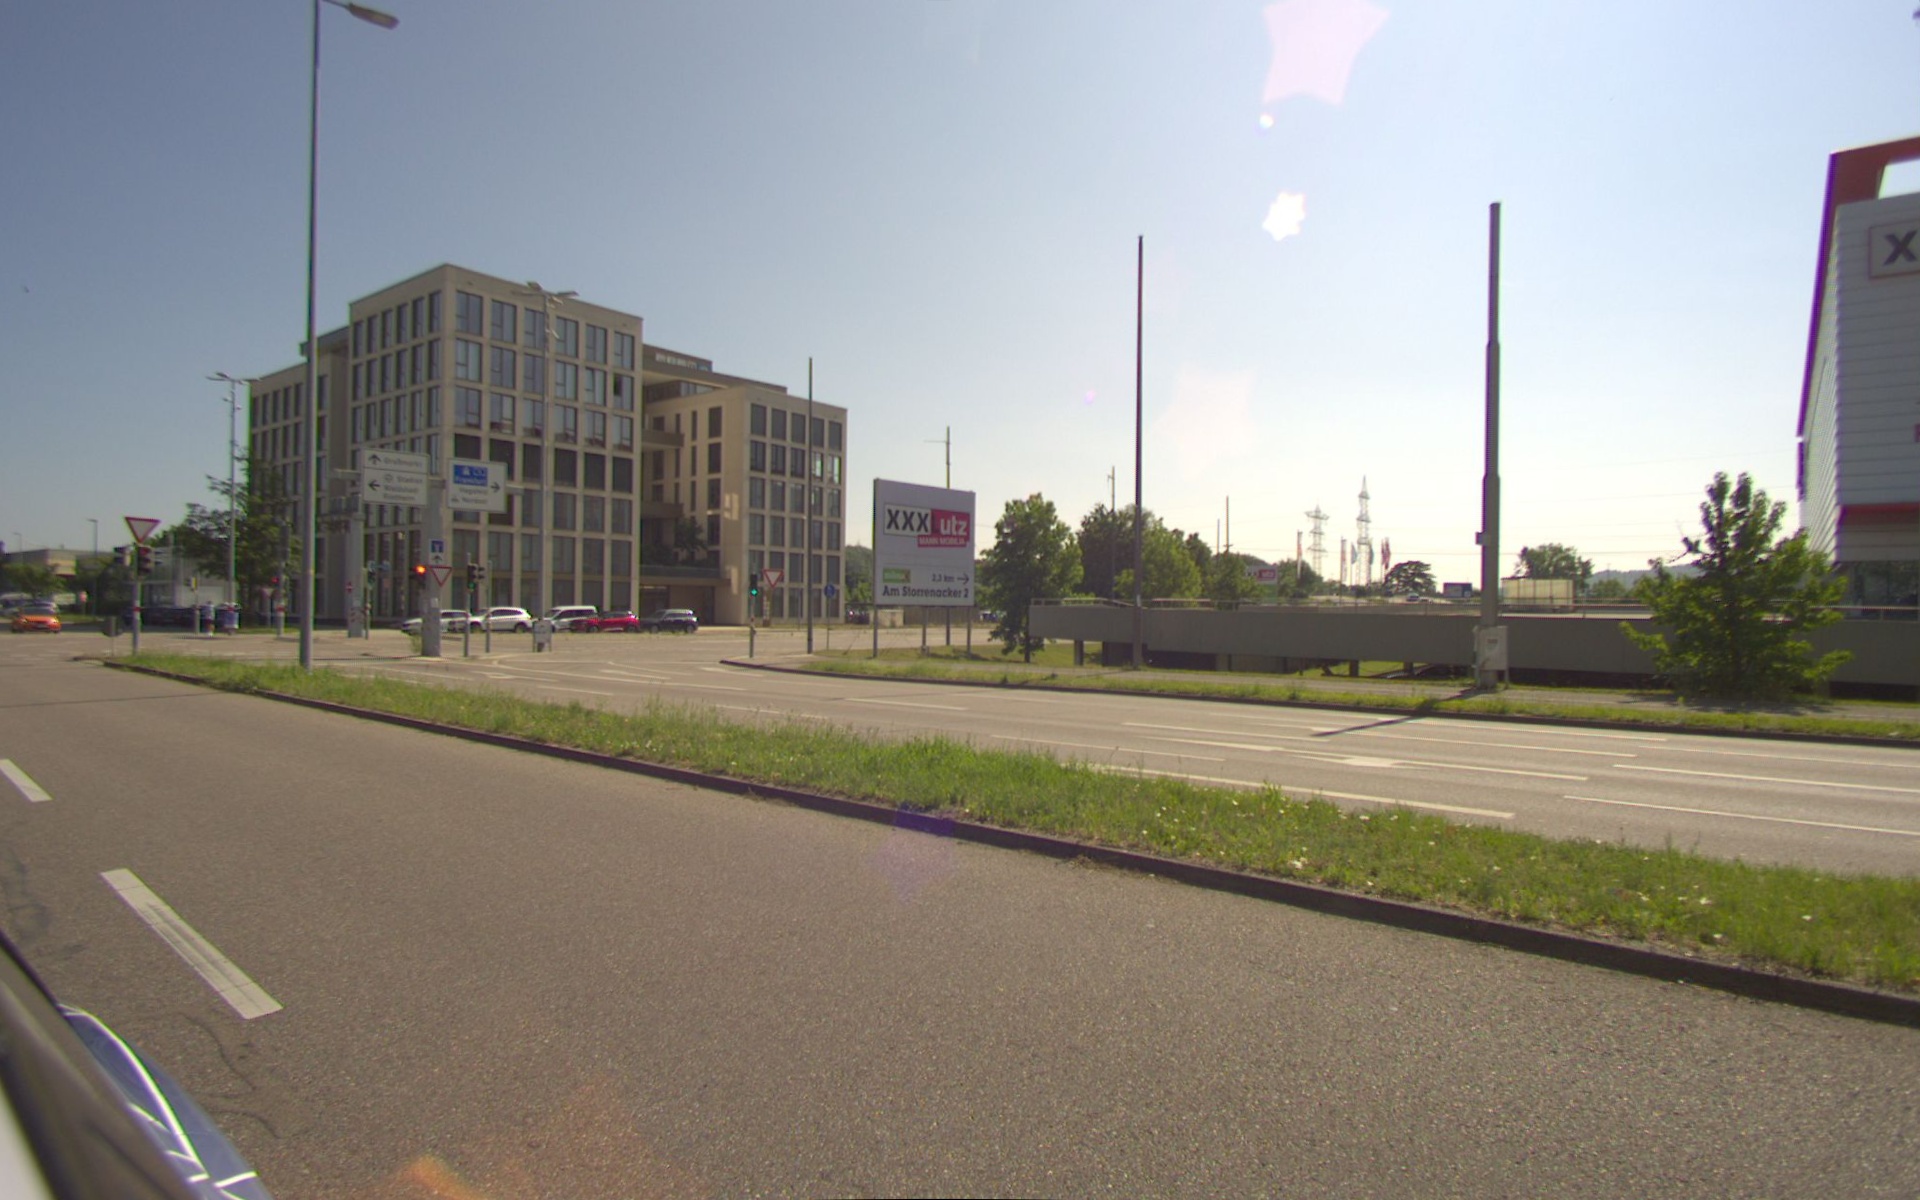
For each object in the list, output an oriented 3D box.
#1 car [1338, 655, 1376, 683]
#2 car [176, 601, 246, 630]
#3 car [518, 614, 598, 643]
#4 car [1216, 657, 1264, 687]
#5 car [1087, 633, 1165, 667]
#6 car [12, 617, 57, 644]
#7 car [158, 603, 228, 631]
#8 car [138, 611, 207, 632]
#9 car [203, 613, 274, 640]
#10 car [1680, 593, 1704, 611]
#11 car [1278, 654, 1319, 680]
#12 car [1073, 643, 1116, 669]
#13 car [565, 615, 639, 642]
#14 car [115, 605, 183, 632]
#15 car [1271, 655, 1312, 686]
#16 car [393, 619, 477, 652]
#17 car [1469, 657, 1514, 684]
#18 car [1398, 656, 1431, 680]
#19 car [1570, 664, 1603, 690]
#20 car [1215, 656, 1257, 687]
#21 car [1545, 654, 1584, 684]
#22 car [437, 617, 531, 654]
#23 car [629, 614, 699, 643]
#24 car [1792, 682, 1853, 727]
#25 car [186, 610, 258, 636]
[{"bbox_3d":[15.906,2.745,40.492,0.886,0.983,1.918,-1,-1,38],"label":"car"},{"bbox_3d":[-55.426,1.160,75.006,3.931,2.029,2.006,1,-2,-30],"label":"car"},{"bbox_3d":[-24.708,1.745,62.324,1.901,1.724,4.179,-1,-1,37],"label":"car"},{"bbox_3d":[10.332,2.635,37.316,1.070,1.016,1.918,-1,-2,38],"label":"car"},{"bbox_3d":[9.579,2.859,58.588,3.998,1.747,1.973,1,0,41],"label":"car"},{"bbox_3d":[-49.644,1.630,54.331,1.713,1.374,3.870,1,-1,-42],"label":"car"},{"bbox_3d":[-58.077,1.317,76.699,3.931,2.029,2.006,1,-2,-30],"label":"car"},{"bbox_3d":[-61.422,1.678,79.022,3.931,1.627,2.006,1,-1,-30],"label":"car"},{"bbox_3d":[-50.216,1.865,70.467,3.934,1.751,2.005,2,-1,-37],"label":"car"},{"bbox_3d":[41.295,0.140,57.108,1.069,0.982,1.919,1,0,36],"label":"car"},{"bbox_3d":[14.166,2.792,42.307,1.070,0.983,1.918,-1,-2,37],"label":"car"},{"bbox_3d":[5.492,2.275,41.276,0.888,0.983,1.919,-3,-2,36],"label":"car"},{"bbox_3d":[-21.512,1.699,60.941,1.528,1.539,4.069,-1,-1,37],"label":"car"},{"bbox_3d":[-64.157,1.459,80.153,3.931,2.029,2.006,1,-2,-30],"label":"car"},{"bbox_3d":[11.799,2.491,35.956,0.865,0.982,1.825,1,0,36],"label":"car"},{"bbox_3d":[-29.296,1.947,56.567,1.829,1.725,3.723,1,0,33],"label":"car"},{"bbox_3d":[14.478,1.901,27.536,0.857,0.625,1.545,1,0,36],"label":"car"},{"bbox_3d":[21.679,3.217,48.228,1.069,1.047,1.919,-1,-2,36],"label":"car"},{"bbox_3d":[27.076,3.314,43.747,1.069,0.982,1.919,1,0,36],"label":"car"},{"bbox_3d":[8.772,2.253,32.112,0.791,0.889,1.487,1,0,36],"label":"car"},{"bbox_3d":[22.273,2.530,37.275,1.069,0.982,1.919,1,0,36],"label":"car"},{"bbox_3d":[-26.062,1.899,55.538,2.022,1.851,4.261,1,0,35],"label":"car"},{"bbox_3d":[-19.813,1.881,67.872,1.833,1.903,4.187,1,0,39],"label":"car"},{"bbox_3d":[22.818,2.749,26.807,1.069,0.982,1.919,1,0,36],"label":"car"},{"bbox_3d":[-52.751,1.646,72.424,3.931,1.841,2.006,1,-1,-30],"label":"car"}]
